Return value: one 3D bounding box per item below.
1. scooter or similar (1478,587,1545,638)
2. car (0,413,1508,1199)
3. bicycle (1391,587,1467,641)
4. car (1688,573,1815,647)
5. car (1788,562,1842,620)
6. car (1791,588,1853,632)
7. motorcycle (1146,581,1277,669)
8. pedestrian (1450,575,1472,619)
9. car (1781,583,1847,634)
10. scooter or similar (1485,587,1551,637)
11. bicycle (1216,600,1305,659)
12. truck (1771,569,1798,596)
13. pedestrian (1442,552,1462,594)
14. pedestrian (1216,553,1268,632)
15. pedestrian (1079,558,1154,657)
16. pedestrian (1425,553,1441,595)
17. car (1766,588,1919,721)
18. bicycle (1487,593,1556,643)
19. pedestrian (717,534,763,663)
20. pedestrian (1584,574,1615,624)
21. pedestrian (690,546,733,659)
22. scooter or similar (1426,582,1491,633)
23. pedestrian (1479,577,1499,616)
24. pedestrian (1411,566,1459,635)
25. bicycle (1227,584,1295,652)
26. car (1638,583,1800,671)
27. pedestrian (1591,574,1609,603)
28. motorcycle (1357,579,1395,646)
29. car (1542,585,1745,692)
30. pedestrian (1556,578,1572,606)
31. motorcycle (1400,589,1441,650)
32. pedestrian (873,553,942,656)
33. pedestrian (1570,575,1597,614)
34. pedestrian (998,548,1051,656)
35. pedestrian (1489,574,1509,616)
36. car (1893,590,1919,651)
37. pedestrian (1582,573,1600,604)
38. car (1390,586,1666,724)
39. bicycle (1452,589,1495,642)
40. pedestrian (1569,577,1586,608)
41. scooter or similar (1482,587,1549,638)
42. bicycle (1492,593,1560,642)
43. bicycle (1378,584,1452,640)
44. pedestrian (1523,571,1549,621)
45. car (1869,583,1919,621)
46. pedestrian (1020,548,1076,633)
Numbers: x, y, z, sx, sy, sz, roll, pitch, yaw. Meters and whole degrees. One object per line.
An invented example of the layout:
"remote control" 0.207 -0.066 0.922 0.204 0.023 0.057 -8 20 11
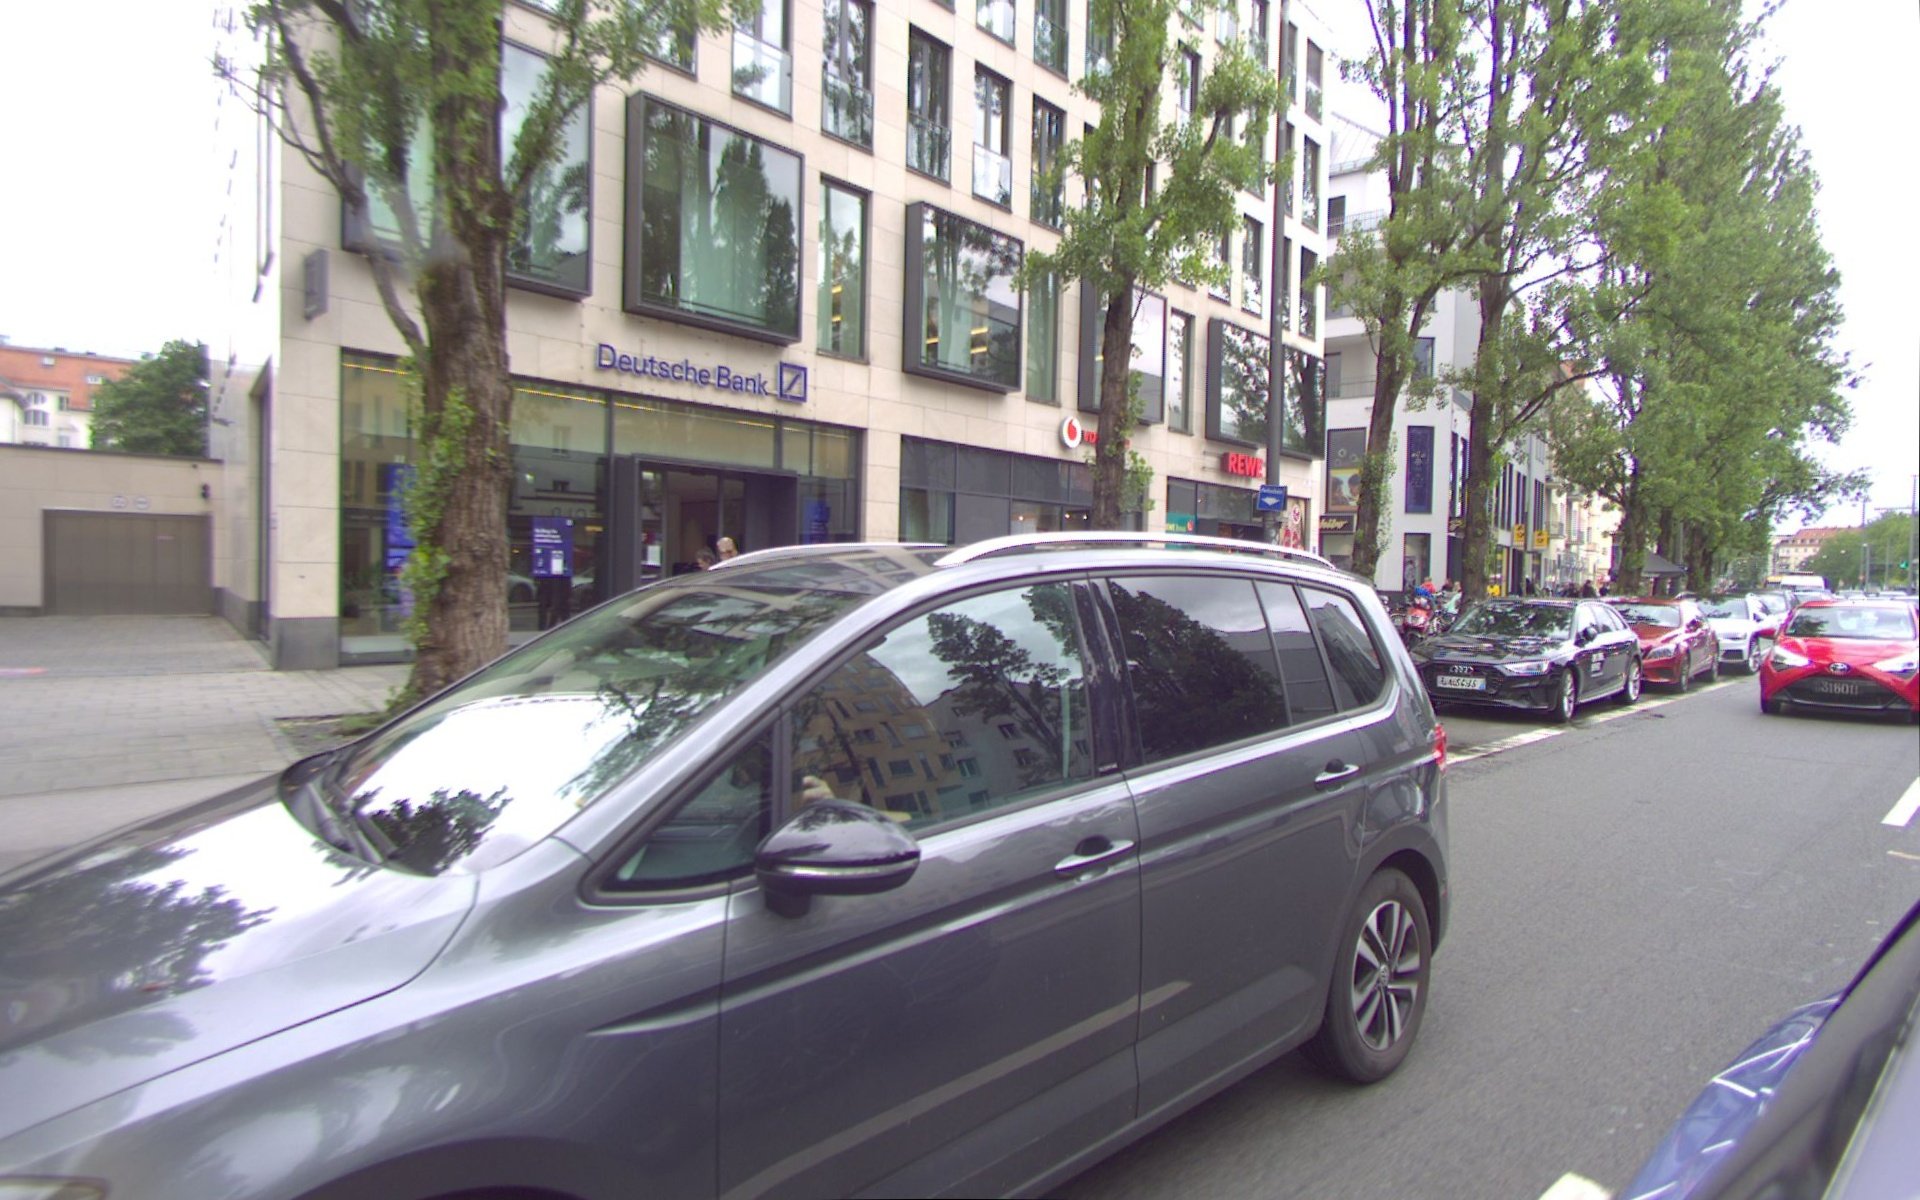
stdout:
"scooter or similar" 14.027 0.314 25.749 1.434 1.215 0.307 3 2 42
"car" -0.262 0.597 2.795 4.110 1.634 1.764 0 1 -41
"bicycle" 11.340 0.317 24.535 0.442 1.186 1.772 1 2 -25
"car" 20.316 0.180 25.904 4.573 1.721 1.927 -1 2 -44
"car" 43.394 -0.487 51.440 1.990 2.775 5.476 1 1 39
"car" 37.830 0.382 44.363 1.928 1.827 4.707 1 1 42
"motorcycle" 3.982 0.374 16.093 1.946 1.267 0.636 2 2 15
"pedestrian" 18.445 -0.125 37.266 0.560 1.586 0.491 0 2 -43
"car" 30.931 0.253 36.614 1.726 1.707 4.342 1 1 41
"scooter or similar" 14.481 0.295 26.299 1.434 1.215 0.307 3 2 42
"bicycle" 5.181 0.501 17.421 1.728 0.952 0.435 1 2 -34
"truck" 114.081 -2.440 140.144 2.529 3.531 7.647 3 3 37
"pedestrian" 19.686 -1.081 40.482 0.497 1.644 0.550 -1 1 -28
"pedestrian" 6.973 -0.195 25.026 0.923 1.892 0.819 0 3 -43
"pedestrian" 2.647 0.109 17.129 0.834 1.596 0.923 3 2 43
"pedestrian" 18.752 -1.016 40.134 0.543 1.644 0.503 0 1 27
"car" 11.801 0.604 13.139 3.537 1.464 1.666 -1 2 -44
"bicycle" 14.775 0.453 26.633 1.478 1.222 0.527 3 2 43
"pedestrian" -2.907 -0.026 13.368 0.546 1.658 0.553 1 1 -14
"pedestrian" 22.105 -0.047 35.001 0.714 1.696 0.772 4 2 42
"pedestrian" -3.390 0.027 13.800 0.536 1.509 0.505 1 1 -14
"scooter or similar" 12.872 0.172 26.161 0.544 1.226 1.387 0 2 -41
"pedestrian" 22.240 -0.160 42.557 0.557 1.595 0.674 2 2 15
"pedestrian" 11.723 0.009 24.977 0.600 1.639 0.796 1 2 -25
"bicycle" 5.561 0.309 18.663 0.455 1.202 1.689 3 3 43
"car" 15.450 0.467 20.494 4.725 1.518 1.813 0 3 -43
"pedestrian" 35.288 -0.646 55.773 0.681 1.577 0.739 3 2 40
"motorcycle" 8.999 0.244 21.866 0.680 1.373 1.631 2 2 23
"car" 11.477 0.523 16.853 1.932 1.468 4.727 3 3 45
"pedestrian" 34.396 -0.454 57.623 0.689 1.604 0.762 2 2 38
"motorcycle" 9.527 0.371 20.983 0.680 1.170 1.631 2 2 23
"pedestrian" -0.871 0.052 16.782 0.824 1.641 0.736 0 2 -45
"pedestrian" 27.329 -0.261 44.344 0.799 1.657 1.008 3 2 41
"pedestrian" 1.099 0.019 17.425 0.668 1.794 0.798 1 2 -11
"pedestrian" 21.627 -0.217 40.588 0.560 1.654 0.491 0 2 -43
"car" 25.152 0.499 25.923 1.736 1.488 3.986 2 2 44
"pedestrian" 32.894 -0.603 52.747 0.681 1.577 0.739 3 2 40
"car" 7.458 0.575 13.104 4.350 1.446 1.850 0 2 -43
"bicycle" 11.226 0.316 22.093 0.639 1.076 1.751 3 2 33
"pedestrian" 34.485 -0.428 56.520 0.689 1.669 0.787 2 2 38
"scooter or similar" 14.271 0.303 26.028 1.434 1.215 0.307 3 2 42
"bicycle" 15.121 0.453 27.052 1.478 1.222 0.527 3 2 43
"bicycle" 10.347 0.271 23.044 1.424 1.204 0.549 1 2 -10
"pedestrian" 22.919 -0.175 40.293 0.646 1.948 0.912 4 2 42
"car" 45.625 0.067 49.082 1.990 1.771 3.945 1 2 38
"pedestrian" 1.755 -0.204 20.192 0.794 1.641 0.706 3 2 44
